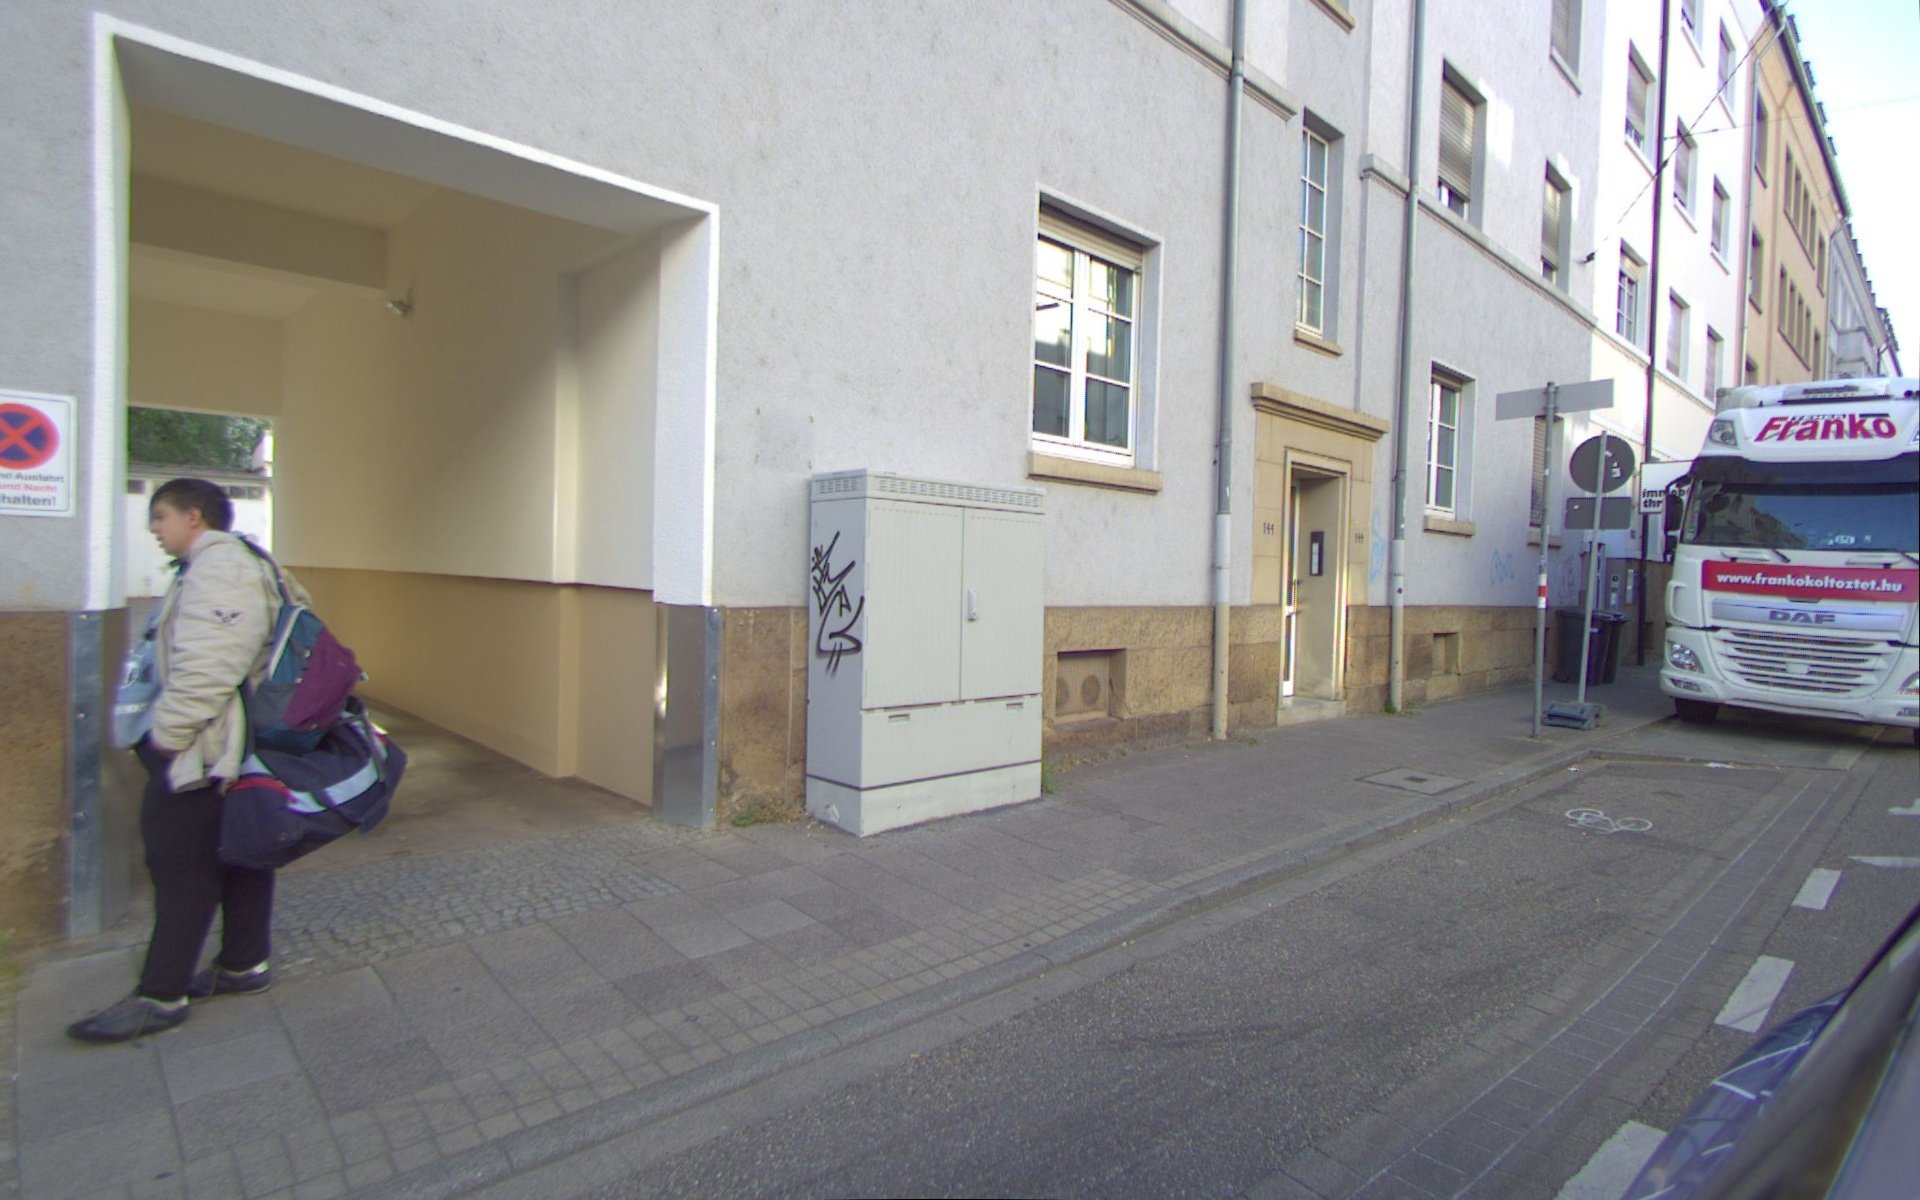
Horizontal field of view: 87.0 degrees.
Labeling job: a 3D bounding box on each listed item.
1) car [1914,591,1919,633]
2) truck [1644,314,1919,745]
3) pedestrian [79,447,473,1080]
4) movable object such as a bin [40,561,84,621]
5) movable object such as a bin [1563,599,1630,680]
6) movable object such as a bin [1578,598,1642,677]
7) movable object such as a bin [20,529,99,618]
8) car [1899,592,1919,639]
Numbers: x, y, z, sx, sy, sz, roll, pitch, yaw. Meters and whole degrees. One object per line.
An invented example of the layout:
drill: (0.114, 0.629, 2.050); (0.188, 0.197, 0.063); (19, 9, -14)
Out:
car: (37.680, 0.457, 38.624); (4.080, 1.551, 1.681); (0, 0, -44)
truck: (12.578, -0.682, 13.876); (11.621, 3.975, 2.778); (0, 2, -44)
pedestrian: (-2.133, 0.389, 3.139); (0.854, 1.590, 0.875); (1, 3, -43)
movable object such as a bin: (-14.374, -0.148, 16.197); (0.518, 0.922, 0.580); (0, 2, -43)
movable object such as a bin: (9.174, 0.548, 14.583); (0.560, 1.107, 0.665); (0, 2, -43)
movable object such as a bin: (9.653, 0.540, 15.034); (0.560, 1.107, 0.665); (0, 2, -43)
movable object such as a bin: (-15.150, -0.455, 17.015); (0.946, 1.426, 1.597); (0, 2, -43)
car: (33.509, 0.525, 34.727); (4.080, 1.551, 1.681); (0, 0, -44)
